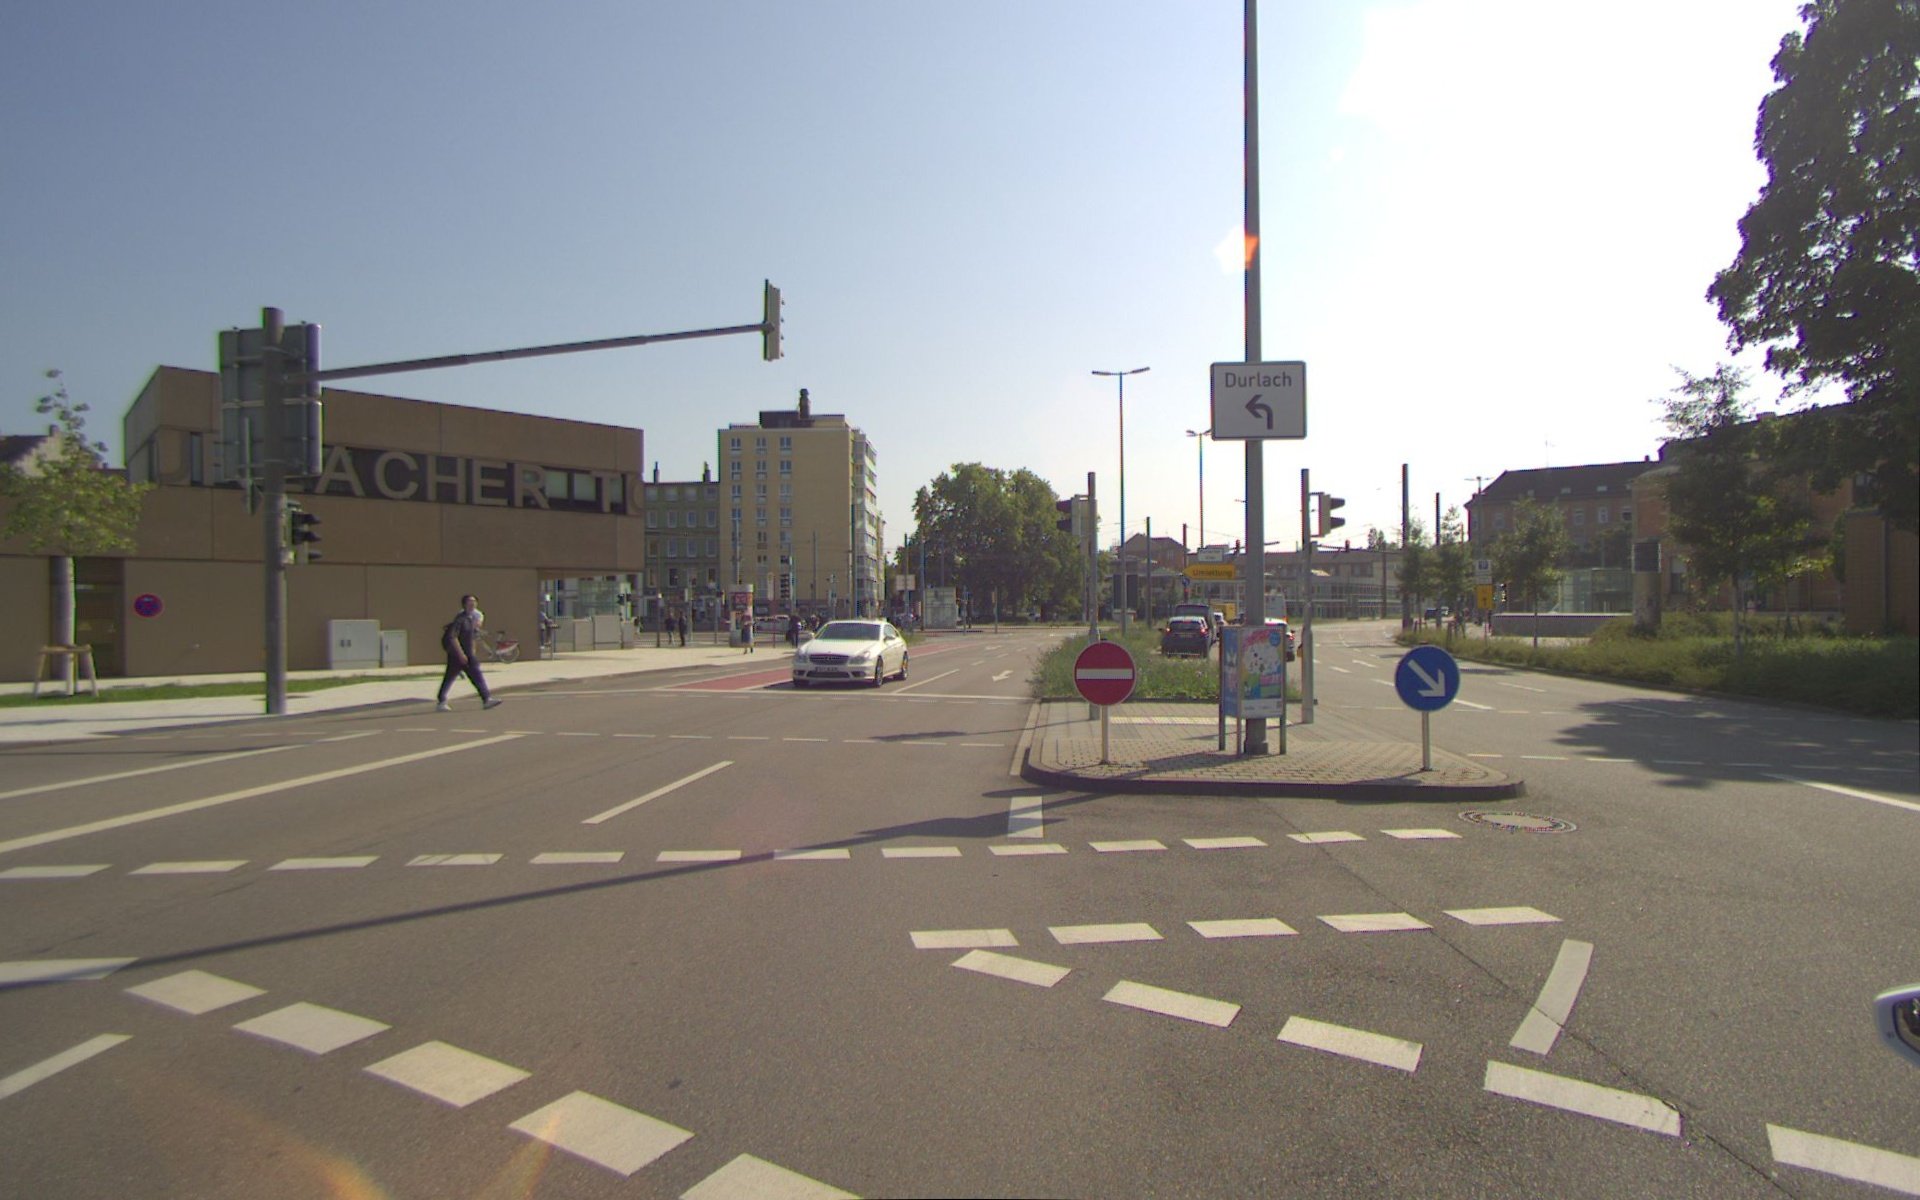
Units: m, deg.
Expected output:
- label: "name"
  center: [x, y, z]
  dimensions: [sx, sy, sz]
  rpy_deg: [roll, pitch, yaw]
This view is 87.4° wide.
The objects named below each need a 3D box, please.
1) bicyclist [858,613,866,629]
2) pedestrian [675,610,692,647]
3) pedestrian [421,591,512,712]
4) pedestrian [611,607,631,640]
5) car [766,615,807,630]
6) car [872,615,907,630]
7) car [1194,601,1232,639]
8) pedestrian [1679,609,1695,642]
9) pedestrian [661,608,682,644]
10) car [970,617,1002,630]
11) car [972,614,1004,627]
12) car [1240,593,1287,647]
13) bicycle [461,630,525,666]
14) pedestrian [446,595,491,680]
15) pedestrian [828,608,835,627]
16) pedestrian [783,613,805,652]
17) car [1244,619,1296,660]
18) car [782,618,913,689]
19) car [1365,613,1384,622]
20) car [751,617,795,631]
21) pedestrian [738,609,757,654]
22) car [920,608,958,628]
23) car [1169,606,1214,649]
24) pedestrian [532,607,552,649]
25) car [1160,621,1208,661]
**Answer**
- label: "bicyclist"
  center: [-8.930, 1.897, 91.282]
  dimensions: [0.714, 1.453, 0.690]
  rpy_deg: [0, -1, -2]
- label: "pedestrian"
  center: [-12.291, 1.271, 44.648]
  dimensions: [0.489, 1.601, 0.508]
  rpy_deg: [0, 2, 17]
- label: "pedestrian"
  center: [-7.796, 0.795, 15.901]
  dimensions: [1.061, 1.864, 0.730]
  rpy_deg: [-1, 0, 8]
- label: "pedestrian"
  center: [-19.302, 1.327, 57.178]
  dimensions: [0.819, 1.843, 0.779]
  rpy_deg: [1, -2, 2]
- label: "car"
  center: [-16.775, 2.214, 97.390]
  dimensions: [3.674, 1.412, 1.587]
  rpy_deg: [0, -1, 2]
- label: "car"
  center: [-8.340, 2.675, 119.346]
  dimensions: [3.920, 1.579, 1.869]
  rpy_deg: [0, 2, 3]
- label: "car"
  center: [14.549, 1.142, 57.645]
  dimensions: [1.989, 2.034, 4.686]
  rpy_deg: [0, -1, 15]
- label: "pedestrian"
  center: [36.979, 1.305, 51.107]
  dimensions: [0.606, 1.660, 0.532]
  rpy_deg: [-1, -1, 35]
- label: "pedestrian"
  center: [-15.370, 1.378, 53.438]
  dimensions: [0.871, 1.844, 0.889]
  rpy_deg: [-1, 2, -30]
- label: "car"
  center: [3.270, 2.978, 126.266]
  dimensions: [3.919, 1.639, 1.814]
  rpy_deg: [-1, -1, 6]
- label: "car"
  center: [3.645, 2.590, 129.120]
  dimensions: [3.919, 1.639, 1.814]
  rpy_deg: [-1, -1, 6]
- label: "car"
  center: [15.358, 1.015, 50.831]
  dimensions: [2.152, 2.583, 4.685]
  rpy_deg: [0, -1, 17]
- label: "bicycle"
  center: [-13.743, 1.407, 29.593]
  dimensions: [0.652, 0.968, 1.602]
  rpy_deg: [1, 1, 44]
- label: "pedestrian"
  center: [-10.897, 0.820, 22.279]
  dimensions: [0.681, 1.857, 0.570]
  rpy_deg: [-1, 0, 20]
- label: "pedestrian"
  center: [-11.627, 1.577, 90.989]
  dimensions: [0.447, 1.707, 0.547]
  rpy_deg: [0, 2, 14]
- label: "pedestrian"
  center: [-7.845, 1.543, 47.474]
  dimensions: [0.859, 1.802, 0.848]
  rpy_deg: [0, 2, -2]
- label: "car"
  center: [11.065, 1.390, 36.059]
  dimensions: [1.656, 1.406, 3.636]
  rpy_deg: [0, -1, 15]
- label: "car"
  center: [-2.354, 1.114, 22.370]
  dimensions: [1.810, 1.379, 4.822]
  rpy_deg: [-1, -1, 7]
- label: "car"
  center: [68.484, 2.914, 165.896]
  dimensions: [1.969, 1.461, 3.983]
  rpy_deg: [-1, -1, 38]
- label: "car"
  center: [-17.609, 2.260, 94.634]
  dimensions: [3.764, 1.195, 1.577]
  rpy_deg: [0, -3, 5]
- label: "pedestrian"
  center: [-8.637, 1.275, 40.835]
  dimensions: [0.668, 1.783, 0.875]
  rpy_deg: [0, -1, -19]
- label: "car"
  center: [-2.266, 1.920, 107.543]
  dimensions: [3.920, 2.040, 2.001]
  rpy_deg: [-1, -1, 2]
- label: "car"
  center: [11.668, 1.360, 50.428]
  dimensions: [1.989, 2.034, 4.685]
  rpy_deg: [0, -1, 16]
- label: "pedestrian"
  center: [-17.777, 1.191, 42.715]
  dimensions: [0.525, 1.719, 0.605]
  rpy_deg: [1, 2, 36]
- label: "car"
  center: [8.296, 1.481, 37.338]
  dimensions: [1.672, 1.386, 3.966]
  rpy_deg: [0, -1, 12]
